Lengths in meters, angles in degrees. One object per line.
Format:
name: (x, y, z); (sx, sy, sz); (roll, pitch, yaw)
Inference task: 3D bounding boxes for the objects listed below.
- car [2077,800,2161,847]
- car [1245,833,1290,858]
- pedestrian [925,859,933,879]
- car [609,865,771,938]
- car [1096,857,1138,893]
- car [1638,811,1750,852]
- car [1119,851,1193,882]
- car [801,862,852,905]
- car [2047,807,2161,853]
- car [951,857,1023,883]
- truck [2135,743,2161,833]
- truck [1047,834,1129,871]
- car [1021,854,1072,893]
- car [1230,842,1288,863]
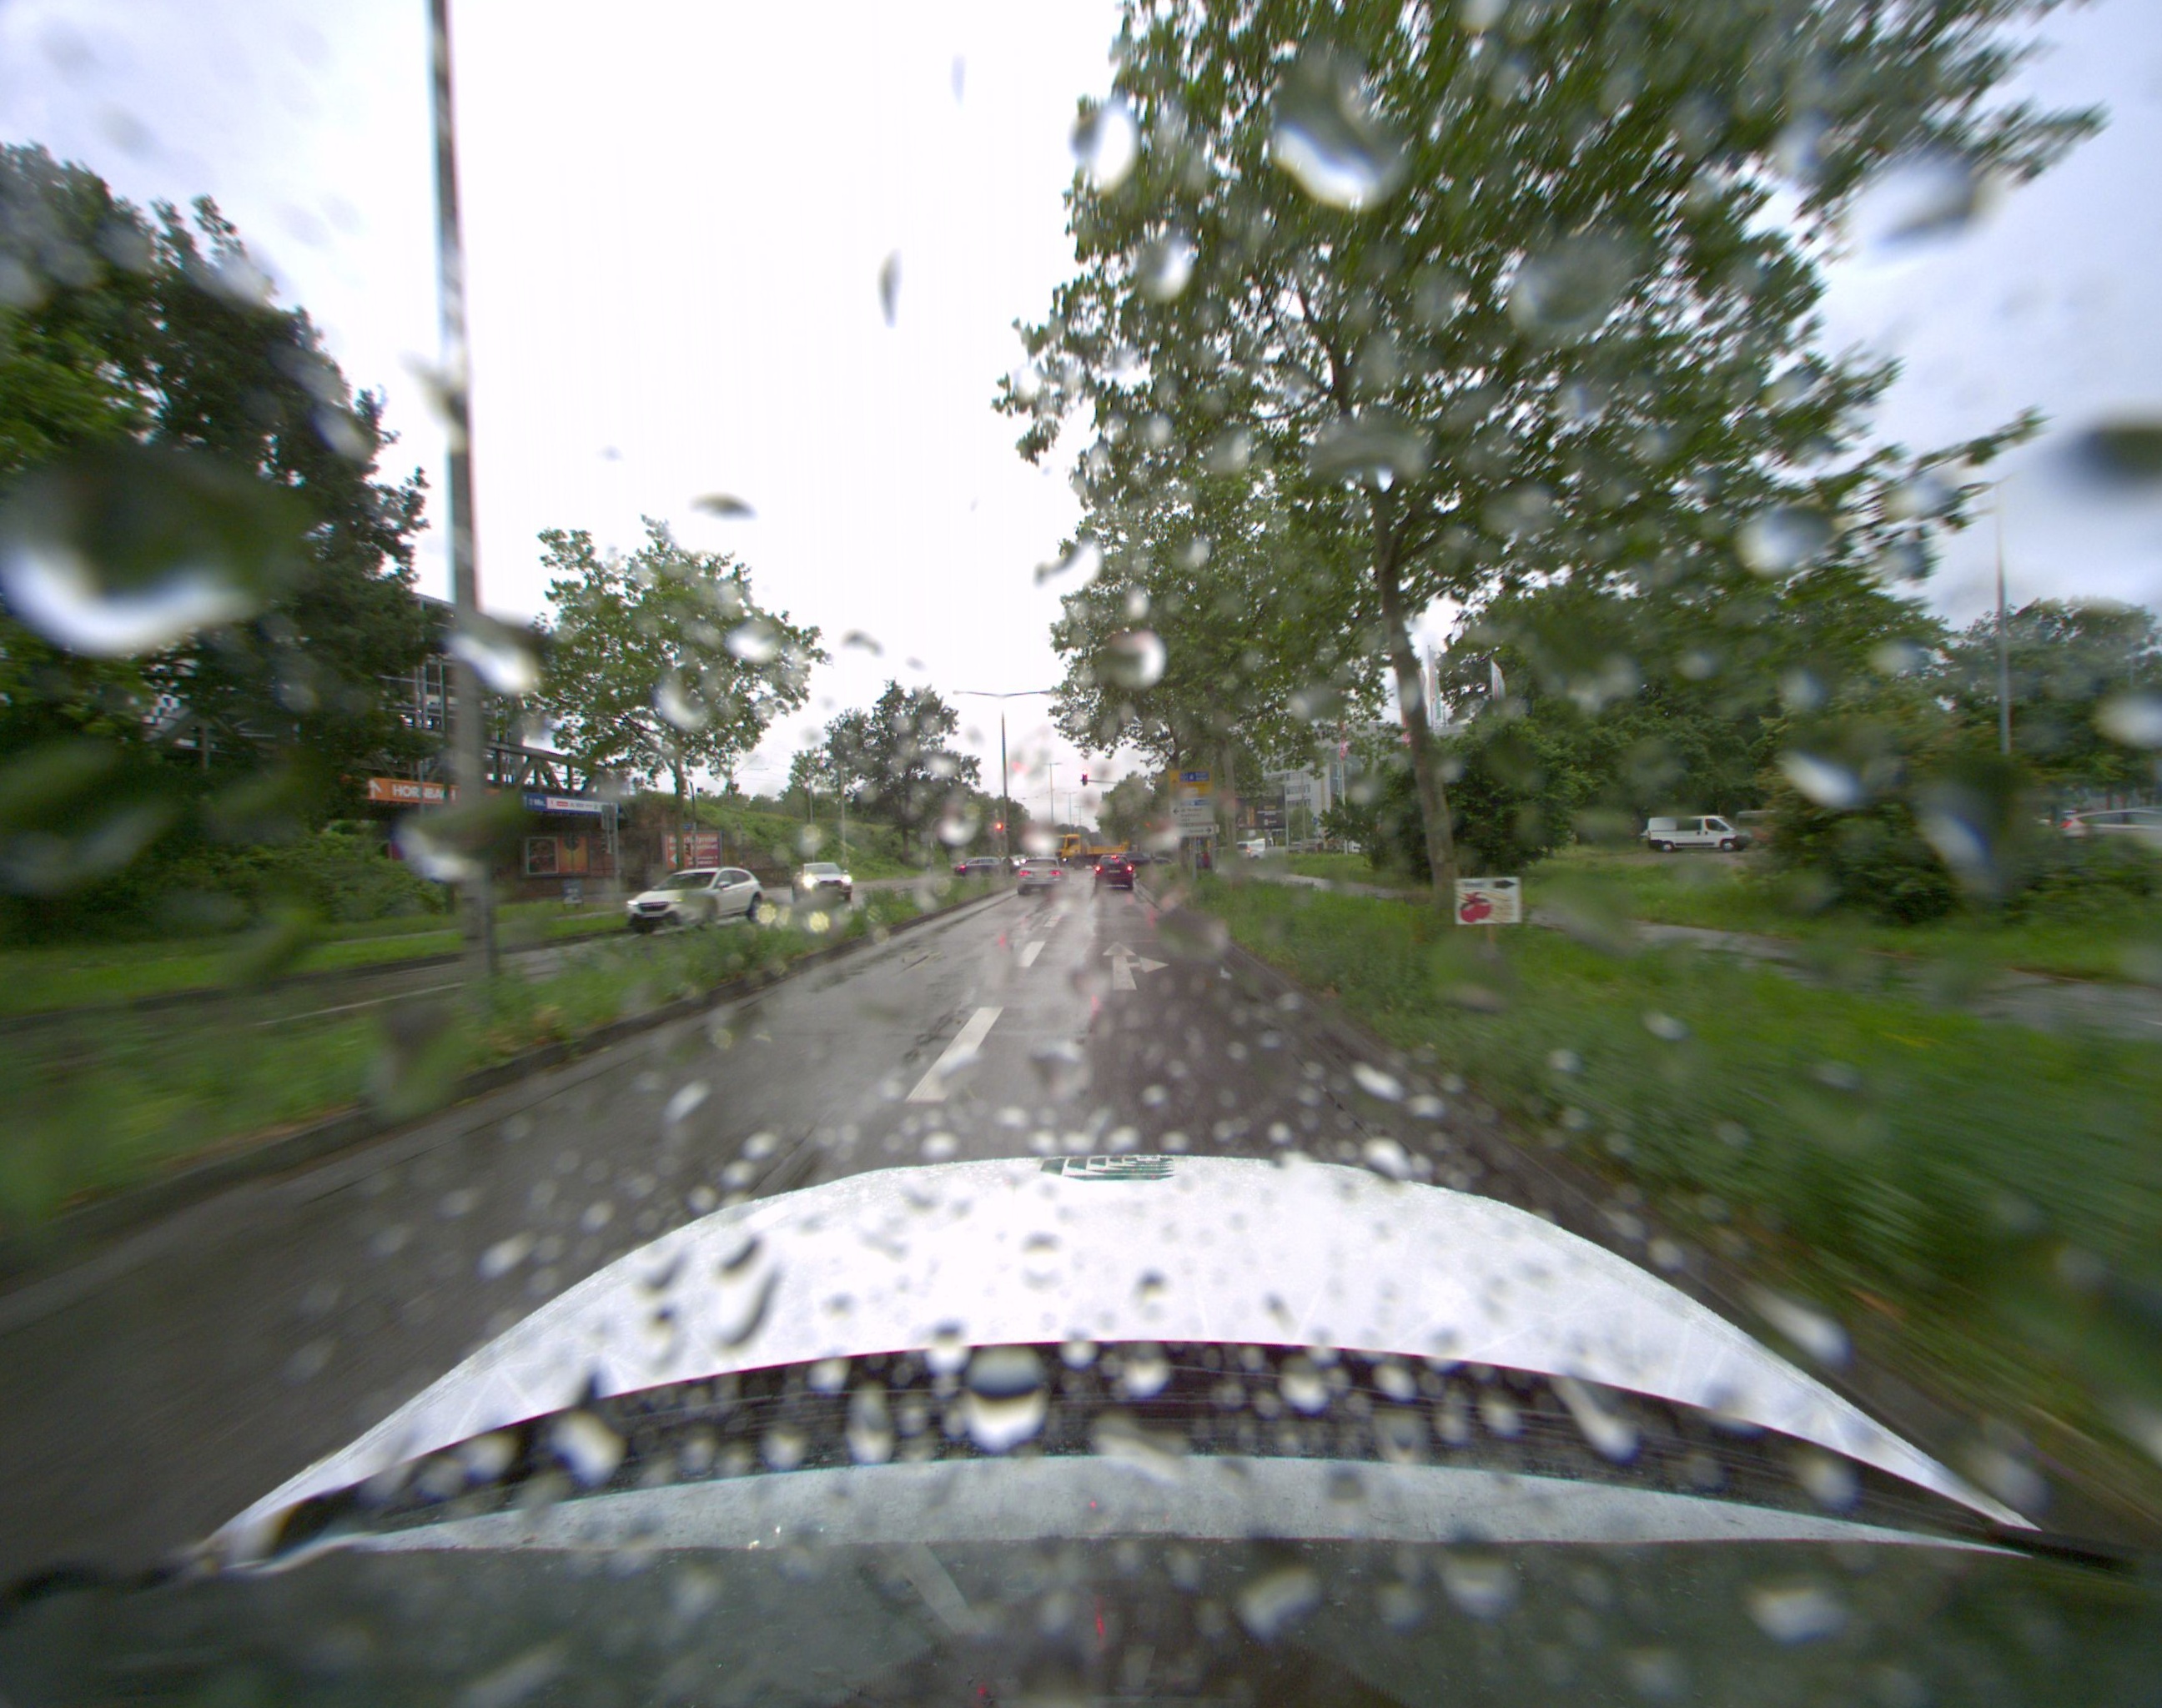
car: (36.429, -1.040, 27.090); (2.007, 1.497, 3.959); (0, -1, -33)
car: (18.771, -0.897, 81.956); (4.404, 2.190, 1.783); (-5, 1, -33)
pedestrian: (-13.975, 1.367, 74.865); (0.528, 1.786, 0.676); (-1, -1, 19)
car: (-9.939, 1.143, 21.160); (1.850, 1.589, 4.520); (-2, -1, 2)
car: (1.616, 0.906, 36.772); (1.789, 1.537, 4.389); (0, -1, 2)
car: (35.554, -1.254, 47.352); (1.815, 2.153, 4.859); (-1, -1, -39)
car: (4.568, 0.722, 49.357); (4.409, 1.537, 1.781); (-4, 2, -38)
car: (-10.750, 1.195, 34.287); (1.862, 1.589, 4.489); (-2, -1, -19)
car: (34.126, -0.772, 26.030); (2.007, 1.365, 3.959); (0, -1, -33)
car: (-6.233, 1.072, 54.037); (4.397, 1.537, 1.786); (-2, -1, -28)
truck: (49.824, -2.908, 36.240); (8.321, 3.810, 2.972); (-1, -1, -34)
truck: (0.693, -0.167, 72.711); (7.079, 3.054, 2.618); (-2, -1, -36)
car: (-1.339, 0.769, 32.934); (1.683, 1.433, 4.576); (-1, -1, 2)
car: (14.164, -0.107, 64.840); (4.397, 1.537, 1.786); (-2, -1, -28)
